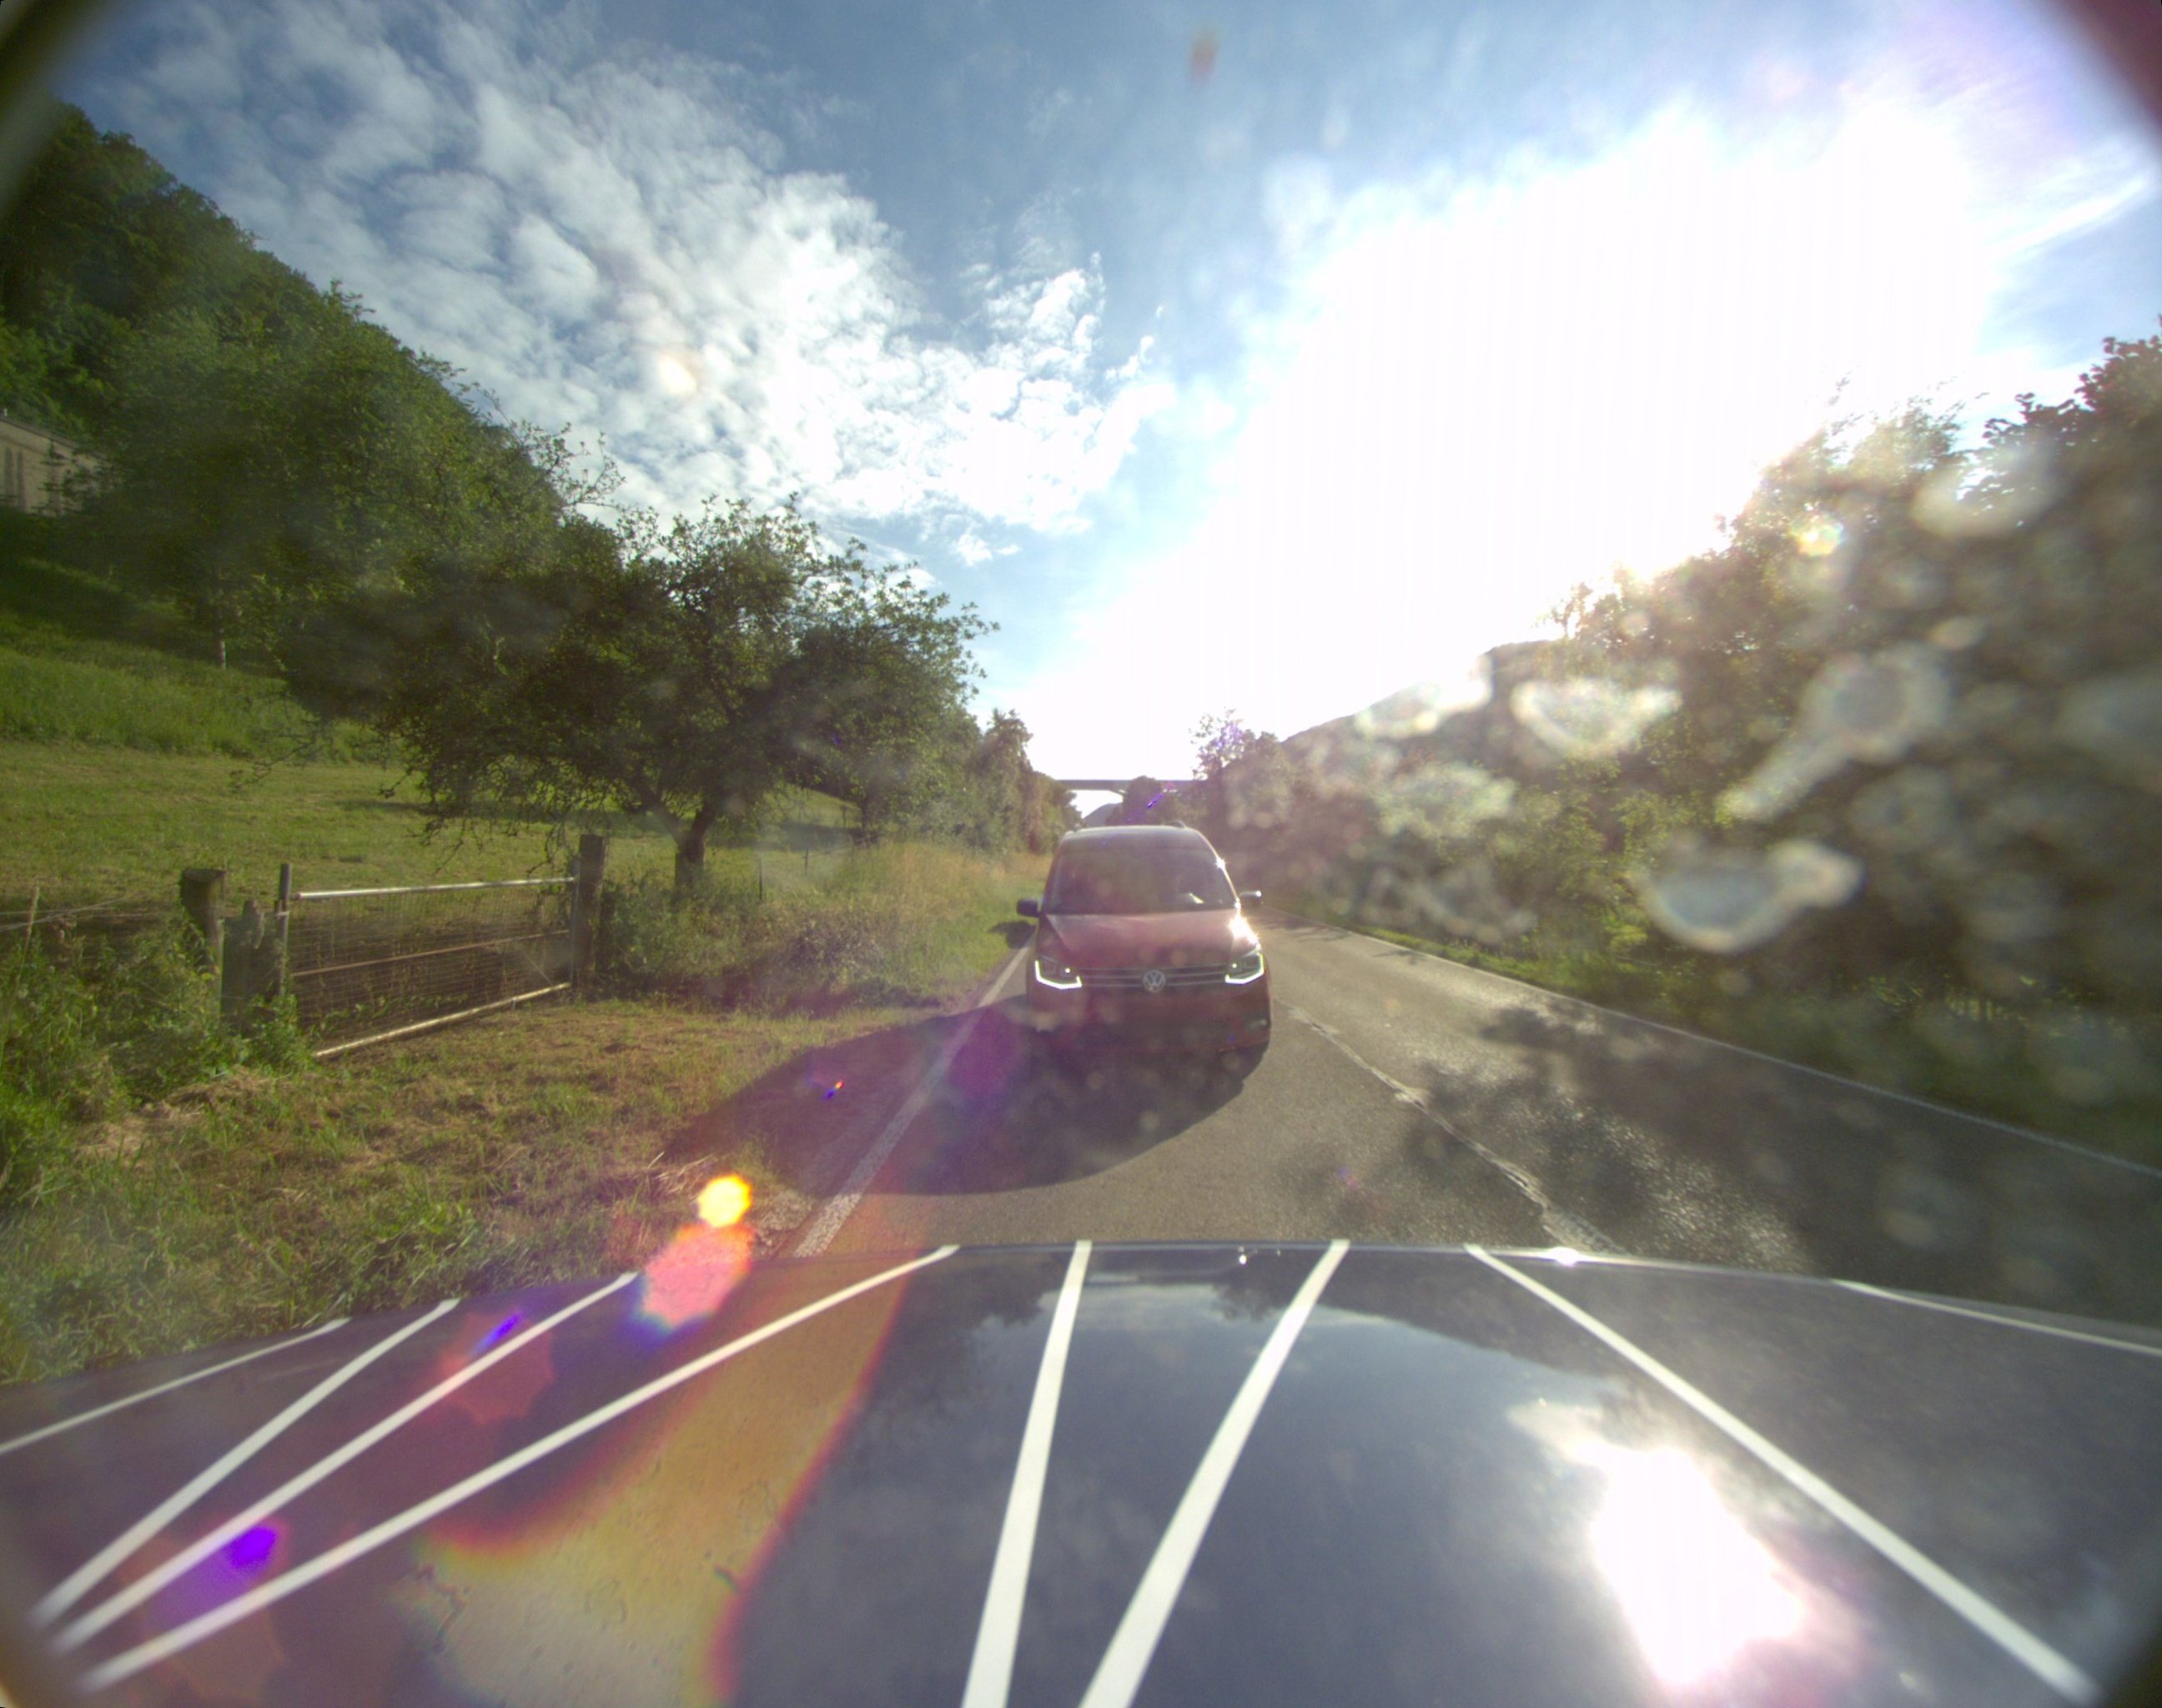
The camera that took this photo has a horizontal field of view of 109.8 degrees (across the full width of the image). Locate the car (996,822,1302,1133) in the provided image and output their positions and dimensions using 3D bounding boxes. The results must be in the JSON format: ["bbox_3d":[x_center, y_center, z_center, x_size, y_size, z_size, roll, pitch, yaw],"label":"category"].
[{"bbox_3d":[0.458,0.729,6.722,1.753,1.799,4.288,-3,1,1],"label":"car"}]

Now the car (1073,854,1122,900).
[{"bbox_3d":[0.667,0.848,30.526,1.753,1.608,4.288,-3,1,1],"label":"car"}]
